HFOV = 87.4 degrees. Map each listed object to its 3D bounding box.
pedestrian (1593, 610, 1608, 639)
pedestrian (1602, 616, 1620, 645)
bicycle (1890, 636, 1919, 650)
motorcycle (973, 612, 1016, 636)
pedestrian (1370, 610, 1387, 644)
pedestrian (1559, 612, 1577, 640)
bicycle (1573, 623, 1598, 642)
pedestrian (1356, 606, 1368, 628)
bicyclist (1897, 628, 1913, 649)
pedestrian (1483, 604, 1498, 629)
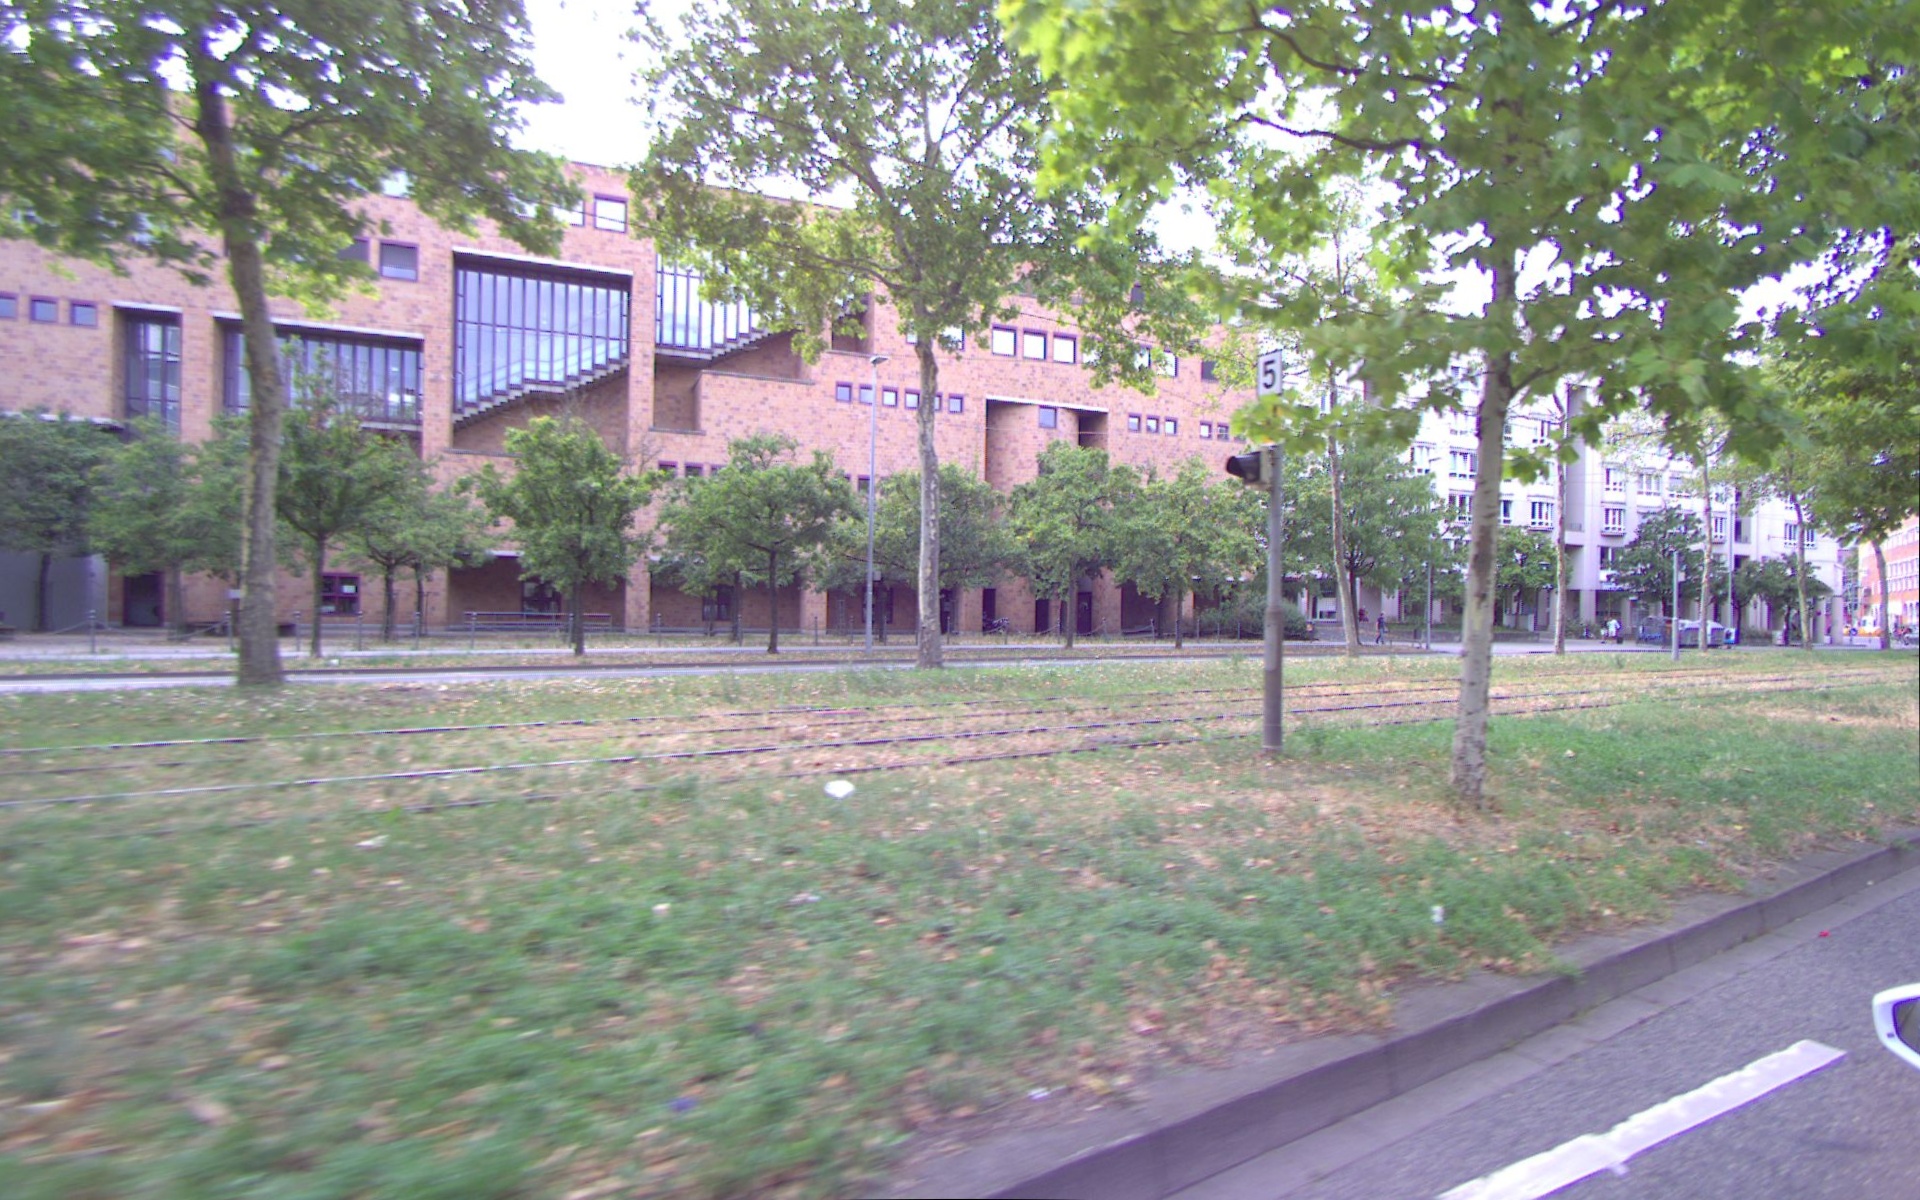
[{"bbox_3d":[39.163,1.504,61.390,0.618,1.728,0.550,1,0,-29],"label":"pedestrian"},{"bbox_3d":[39.437,1.829,60.856,0.873,1.728,0.550,1,0,-29],"label":"pedestrian"},{"bbox_3d":[78.166,3.523,83.032,1.840,1.106,0.578,1,0,21],"label":"bicycle"},{"bbox_3d":[1.792,1.266,52.887,2.160,1.207,0.795,1,0,34],"label":"motorcycle"},{"bbox_3d":[21.915,1.417,52.568,0.618,1.728,0.550,1,0,-29],"label":"pedestrian"},{"bbox_3d":[40.999,1.750,67.695,0.683,1.833,0.768,1,0,-23],"label":"pedestrian"},{"bbox_3d":[41.838,2.153,67.213,1.815,1.228,0.531,1,0,-26],"label":"bicycle"},{"bbox_3d":[24.502,1.013,61.219,0.546,1.340,0.456,1,0,-22],"label":"pedestrian"},{"bbox_3d":[78.150,3.147,83.040,0.769,1.695,0.573,1,0,21],"label":"bicyclist"},{"bbox_3d":[36.593,1.123,69.277,0.650,1.694,0.635,1,0,-24],"label":"pedestrian"}]
